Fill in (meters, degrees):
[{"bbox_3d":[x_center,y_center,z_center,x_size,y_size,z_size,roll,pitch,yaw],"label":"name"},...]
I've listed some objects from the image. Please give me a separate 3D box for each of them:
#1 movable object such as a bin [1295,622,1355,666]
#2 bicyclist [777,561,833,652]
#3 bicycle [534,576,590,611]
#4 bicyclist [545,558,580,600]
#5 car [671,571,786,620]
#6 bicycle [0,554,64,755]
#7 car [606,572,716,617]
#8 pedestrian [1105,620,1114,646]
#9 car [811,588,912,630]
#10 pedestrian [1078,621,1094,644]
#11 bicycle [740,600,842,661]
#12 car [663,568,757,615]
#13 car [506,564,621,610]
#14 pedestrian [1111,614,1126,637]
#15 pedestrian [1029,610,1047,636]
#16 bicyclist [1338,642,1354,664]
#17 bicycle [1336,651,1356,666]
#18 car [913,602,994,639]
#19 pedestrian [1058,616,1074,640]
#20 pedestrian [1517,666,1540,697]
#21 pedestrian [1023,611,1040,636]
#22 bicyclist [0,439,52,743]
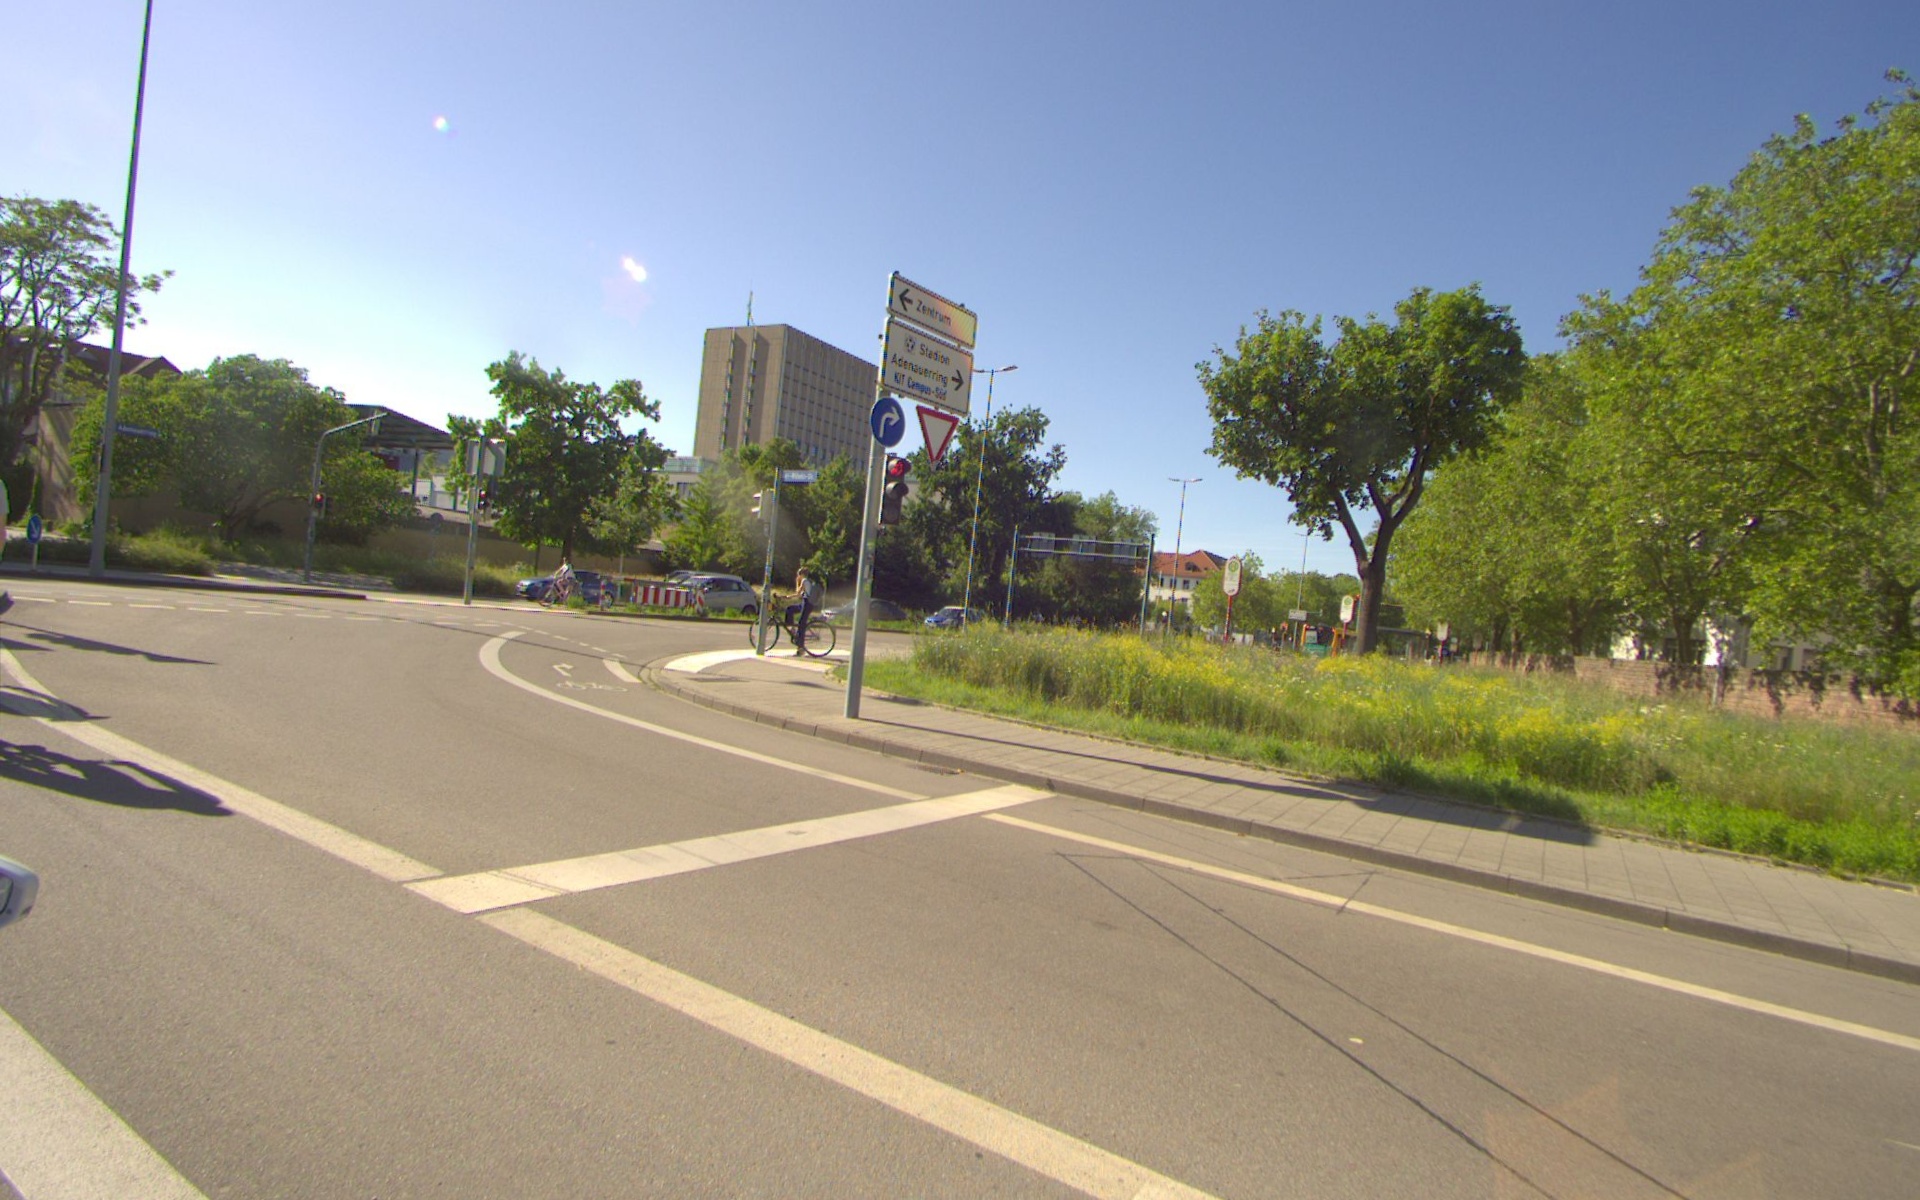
[{"bbox_3d":[28.033,3.454,77.012,2.954,2.898,9.178,6,0,27],"label":"movable object such as a bin"},{"bbox_3d":[-3.041,0.123,19.705,0.898,1.667,0.630,6,1,-9],"label":"bicyclist"},{"bbox_3d":[-13.956,-0.231,35.336,0.602,1.046,1.681,7,0,37],"label":"bicycle"},{"bbox_3d":[-13.938,-0.724,35.282,0.602,1.360,0.874,7,1,37],"label":"bicyclist"},{"bbox_3d":[-8.743,-0.132,38.289,1.767,1.415,3.986,7,0,37],"label":"car"},{"bbox_3d":[-6.311,0.236,6.124,1.890,1.102,0.690,6,-1,32],"label":"bicycle"},{"bbox_3d":[-12.302,-0.202,41.570,1.767,1.415,3.986,7,0,37],"label":"car"},{"bbox_3d":[14.568,3.221,98.240,0.401,2.451,0.467,6,-1,34],"label":"pedestrian"},{"bbox_3d":[-4.312,0.433,44.629,1.767,1.415,4.557,7,0,37],"label":"car"},{"bbox_3d":[11.748,3.005,93.610,0.752,2.039,1.267,7,1,36],"label":"pedestrian"},{"bbox_3d":[-3.294,0.590,19.677,1.856,0.970,0.635,7,1,-10],"label":"bicycle"},{"bbox_3d":[-11.845,-0.369,47.795,1.767,1.771,3.986,7,0,37],"label":"car"},{"bbox_3d":[-16.213,-0.528,41.318,1.767,1.415,3.986,7,0,37],"label":"car"},{"bbox_3d":[15.369,2.495,97.666,0.752,2.039,1.267,7,1,36],"label":"pedestrian"},{"bbox_3d":[6.577,1.918,84.334,0.752,2.039,1.267,7,1,36],"label":"pedestrian"},{"bbox_3d":[27.518,3.781,71.759,0.632,1.533,1.049,7,2,39],"label":"bicyclist"},{"bbox_3d":[27.605,4.196,71.929,0.640,0.986,1.895,7,1,39],"label":"bicycle"},{"bbox_3d":[-0.297,1.048,50.456,1.916,1.415,3.986,6,0,37],"label":"car"},{"bbox_3d":[9.545,2.515,90.746,0.752,2.039,1.267,7,1,36],"label":"pedestrian"},{"bbox_3d":[28.534,4.109,50.532,0.712,1.460,0.523,7,-1,2],"label":"pedestrian"},{"bbox_3d":[6.124,2.016,85.936,0.752,2.039,1.267,7,1,36],"label":"pedestrian"},{"bbox_3d":[-6.292,-0.110,6.139,1.123,1.813,0.684,7,0,32],"label":"bicyclist"}]
